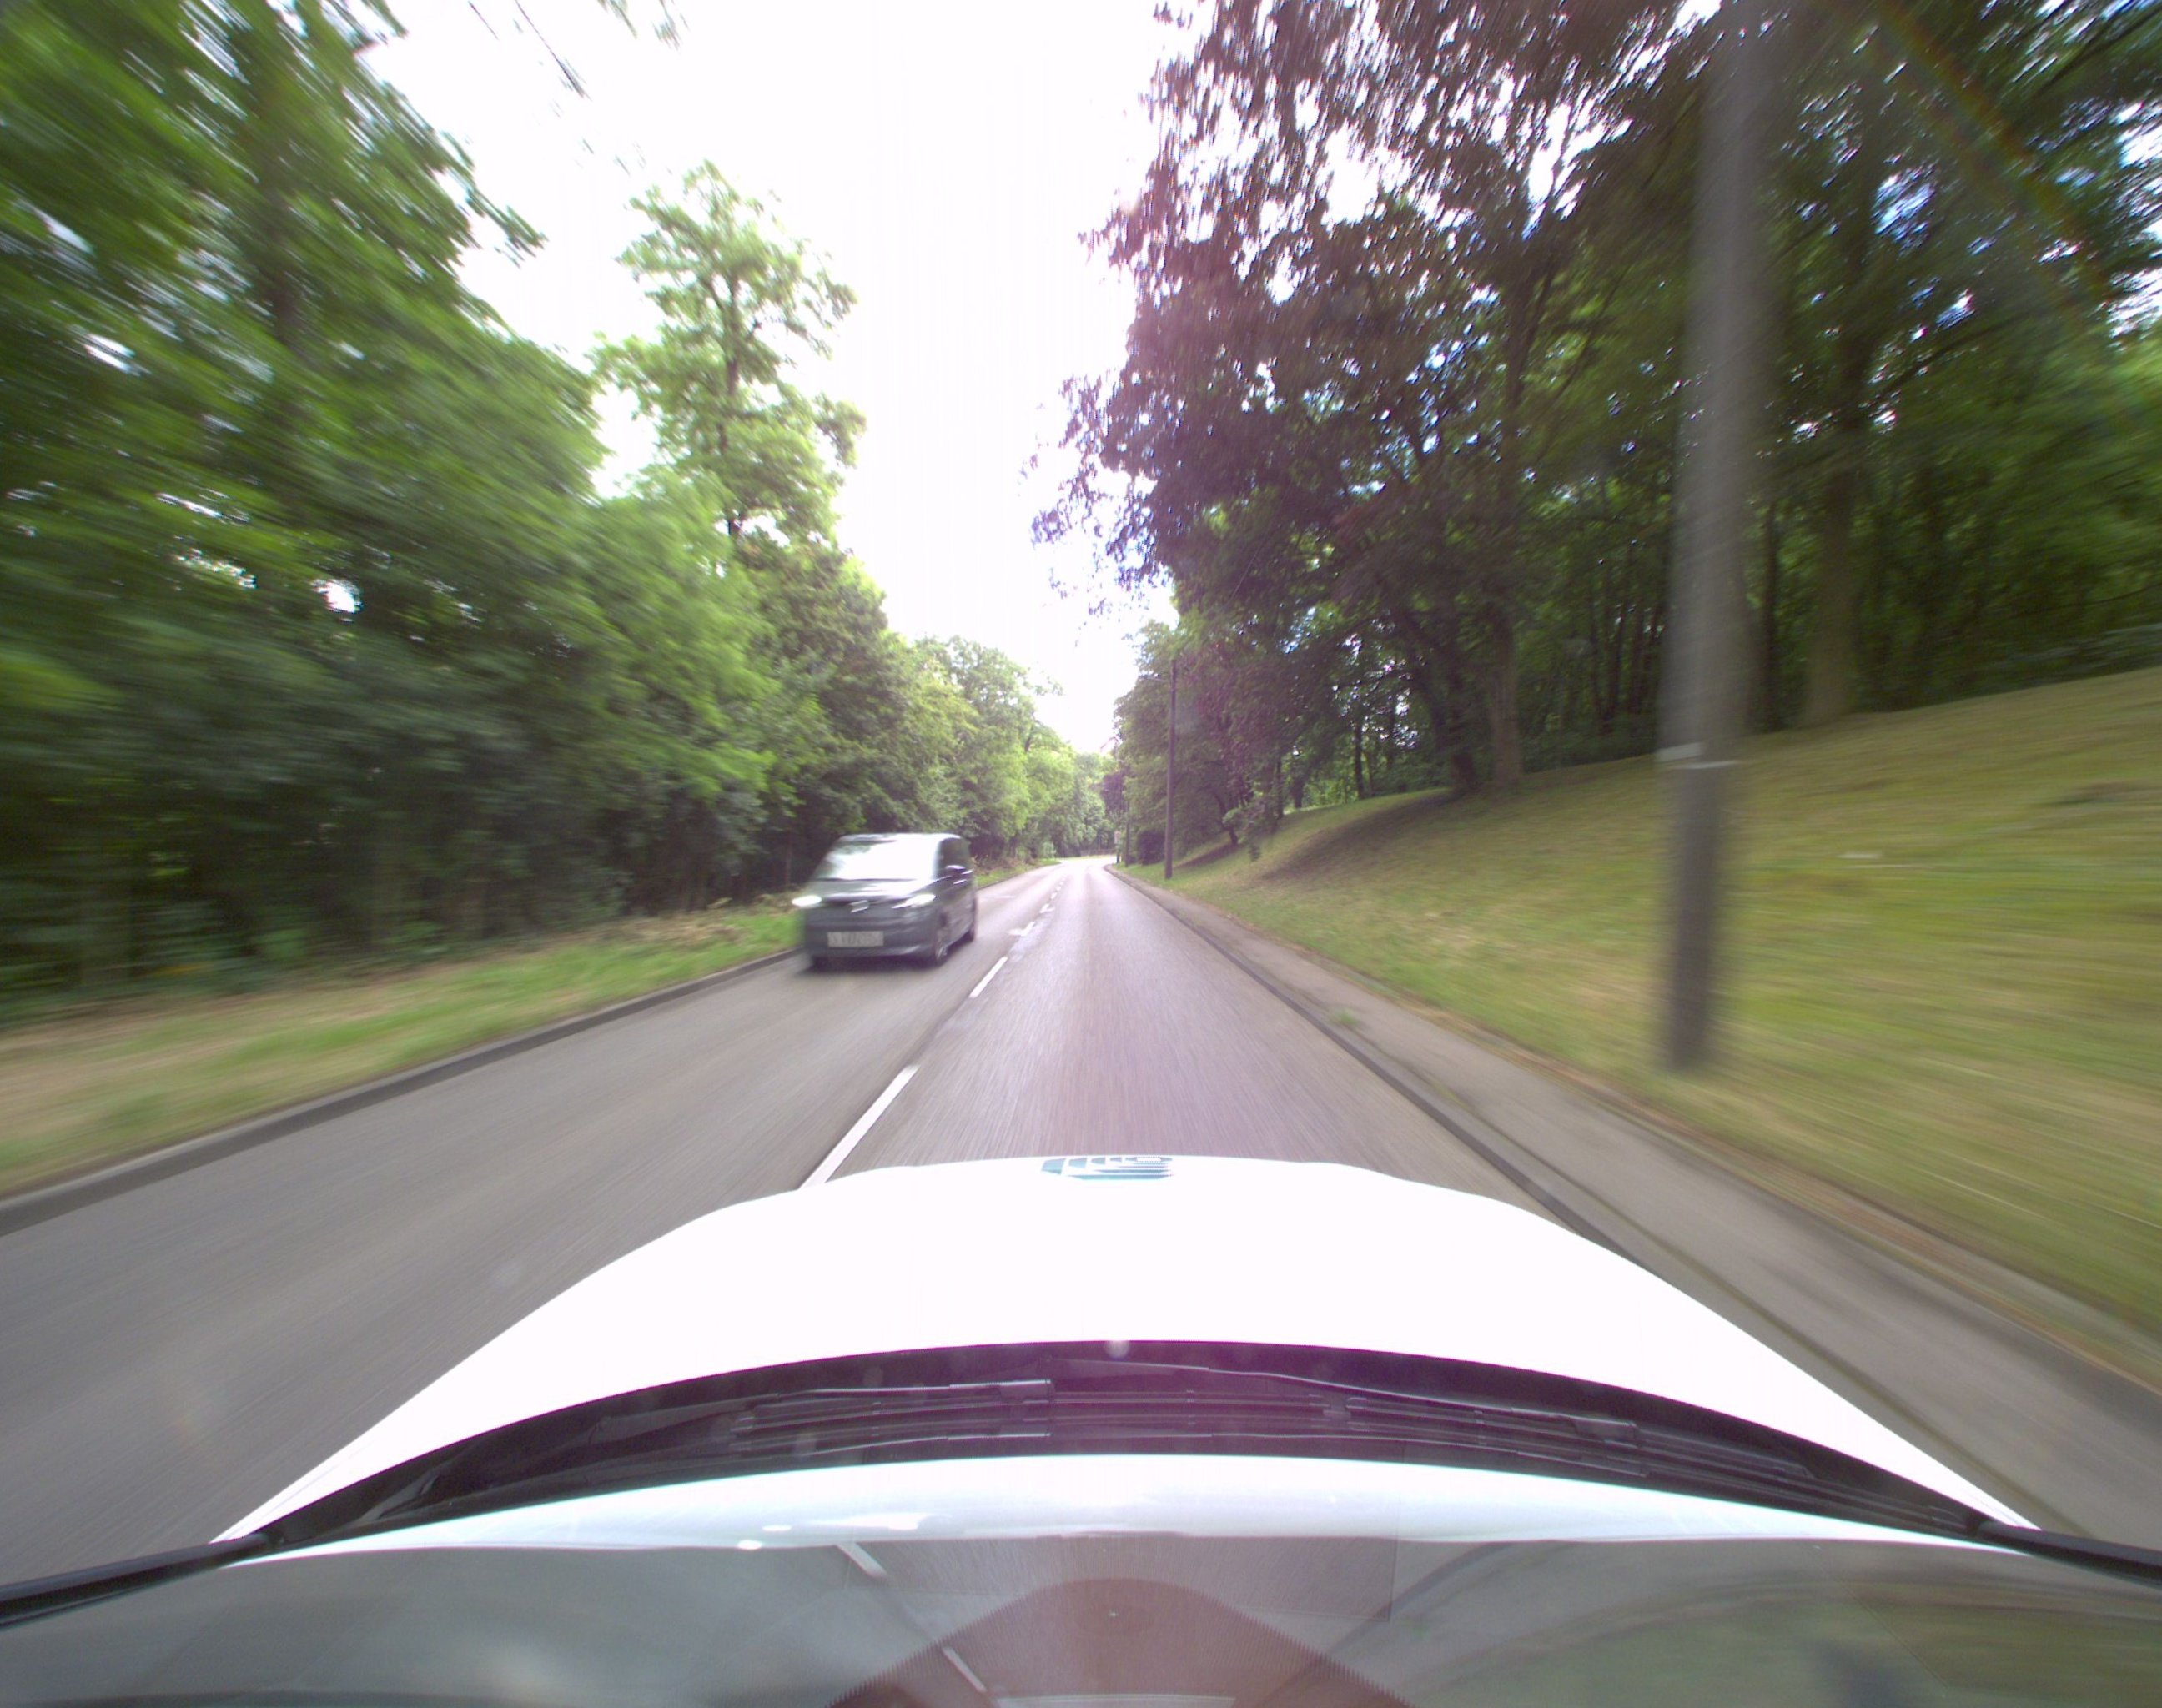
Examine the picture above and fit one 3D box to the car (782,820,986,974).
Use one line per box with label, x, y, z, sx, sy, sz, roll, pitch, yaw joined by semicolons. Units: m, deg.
car;-2.793;0.556;12.834;1.987;1.948;4.945;0;0;0
